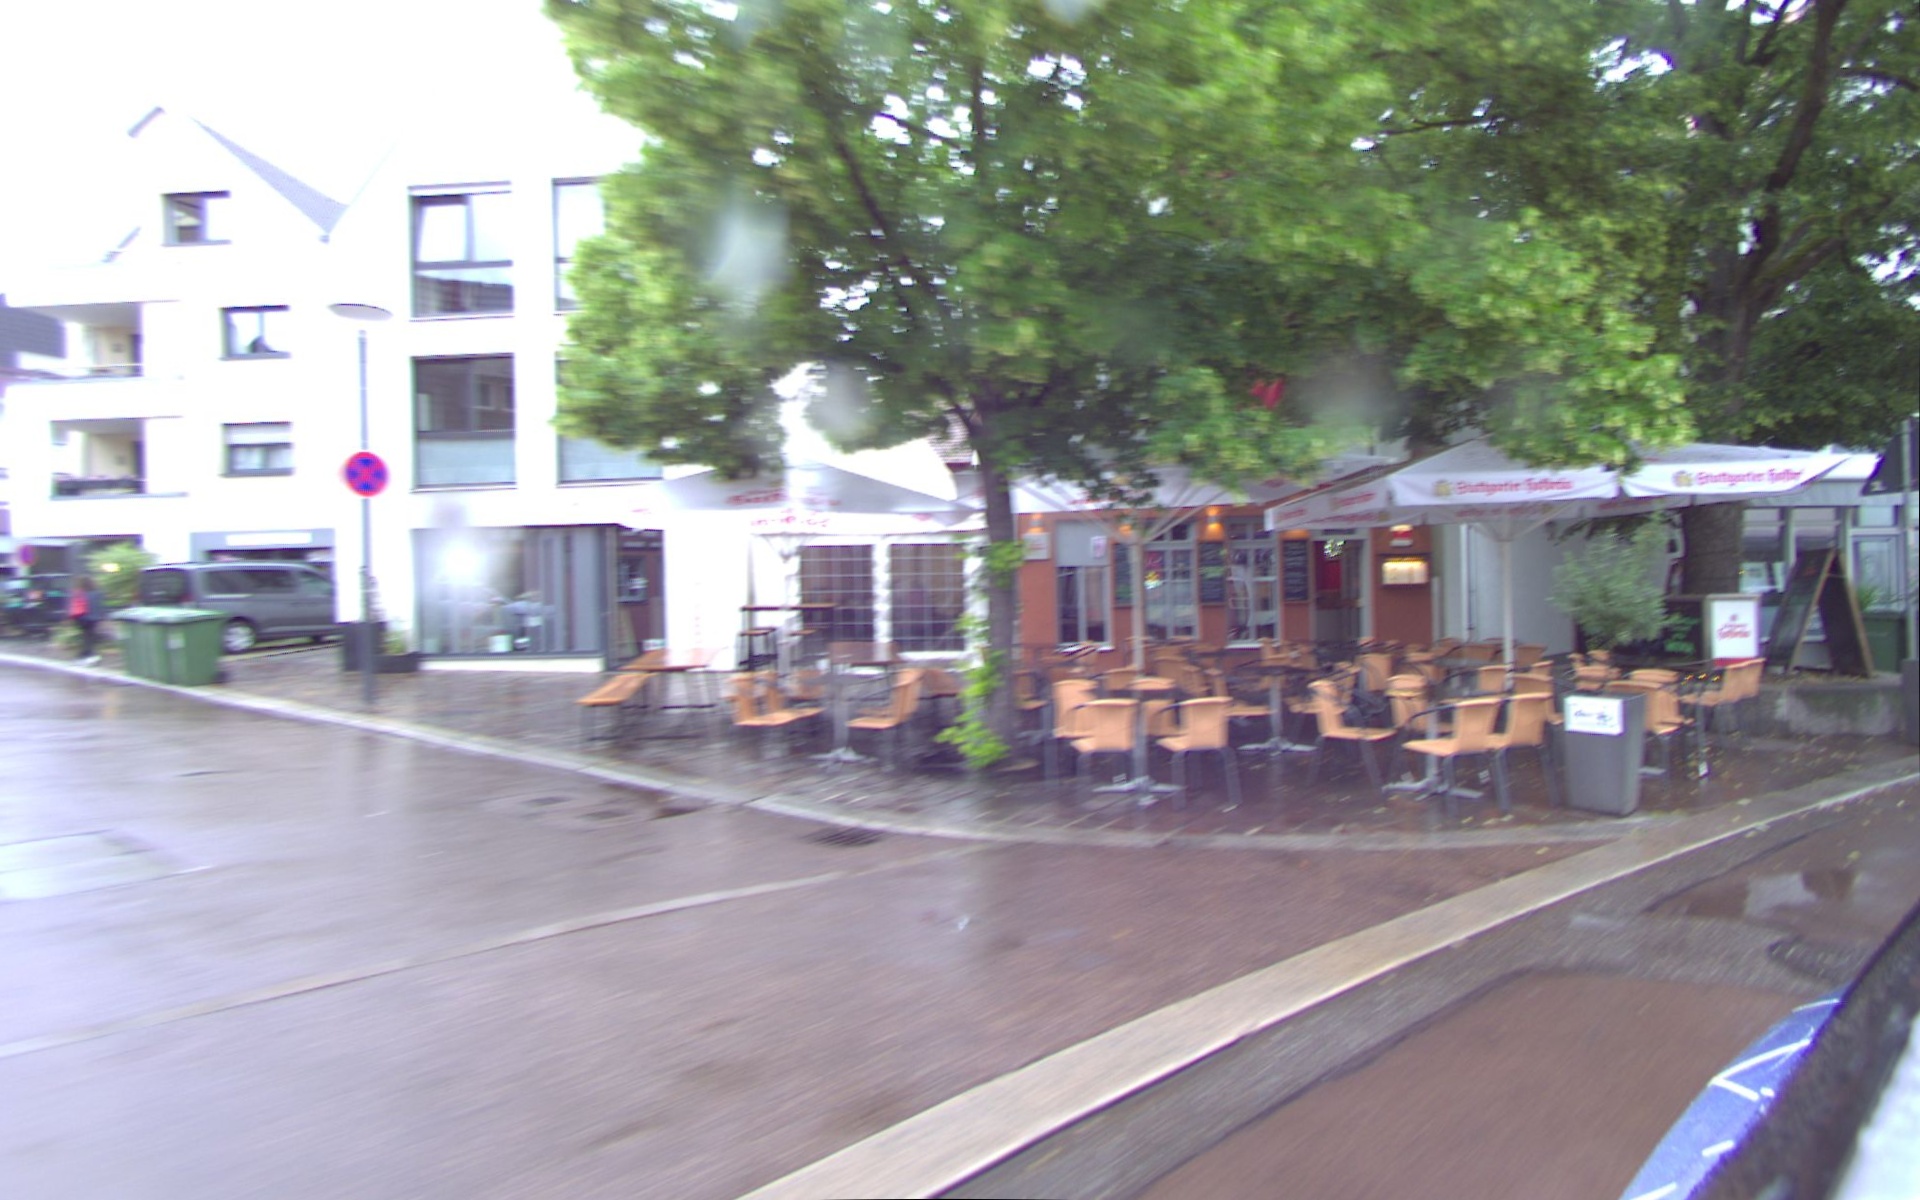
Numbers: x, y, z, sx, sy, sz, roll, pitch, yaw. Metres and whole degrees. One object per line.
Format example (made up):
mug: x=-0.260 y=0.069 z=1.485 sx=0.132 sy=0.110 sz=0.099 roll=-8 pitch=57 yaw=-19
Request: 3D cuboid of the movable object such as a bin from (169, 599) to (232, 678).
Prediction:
movable object such as a bin: x=-11.254 y=0.550 z=15.004 sx=0.653 sy=1.107 sz=0.598 roll=1 pitch=2 yaw=39

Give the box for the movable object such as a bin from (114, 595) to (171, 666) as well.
movable object such as a bin: x=-13.248 y=0.482 z=16.402 sx=0.653 sy=1.107 sz=0.598 roll=1 pitch=2 yaw=39

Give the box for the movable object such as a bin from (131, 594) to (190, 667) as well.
movable object such as a bin: x=-12.612 y=0.463 z=15.967 sx=0.653 sy=1.107 sz=0.598 roll=1 pitch=2 yaw=39

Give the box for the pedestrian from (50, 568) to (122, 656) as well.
pedestrian: x=-15.696 y=0.199 z=18.179 sx=0.835 sy=1.537 sz=0.752 roll=0 pitch=1 yaw=32

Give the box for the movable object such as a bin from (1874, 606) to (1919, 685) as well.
movable object such as a bin: x=13.184 y=0.624 z=14.151 sx=0.490 sy=1.060 sz=0.432 roll=-1 pitch=1 yaw=-24

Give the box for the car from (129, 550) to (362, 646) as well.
car: x=-14.618 y=-0.100 z=20.946 sx=1.605 sy=1.793 sz=3.709 roll=0 pitch=2 yaw=19

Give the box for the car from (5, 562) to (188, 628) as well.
car: x=-25.208 y=-0.204 z=29.620 sx=1.994 sy=1.794 sz=3.936 roll=1 pitch=2 yaw=45

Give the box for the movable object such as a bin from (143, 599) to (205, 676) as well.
movable object such as a bin: x=-11.894 y=0.553 z=15.320 sx=0.653 sy=1.107 sz=0.598 roll=1 pitch=2 yaw=39
